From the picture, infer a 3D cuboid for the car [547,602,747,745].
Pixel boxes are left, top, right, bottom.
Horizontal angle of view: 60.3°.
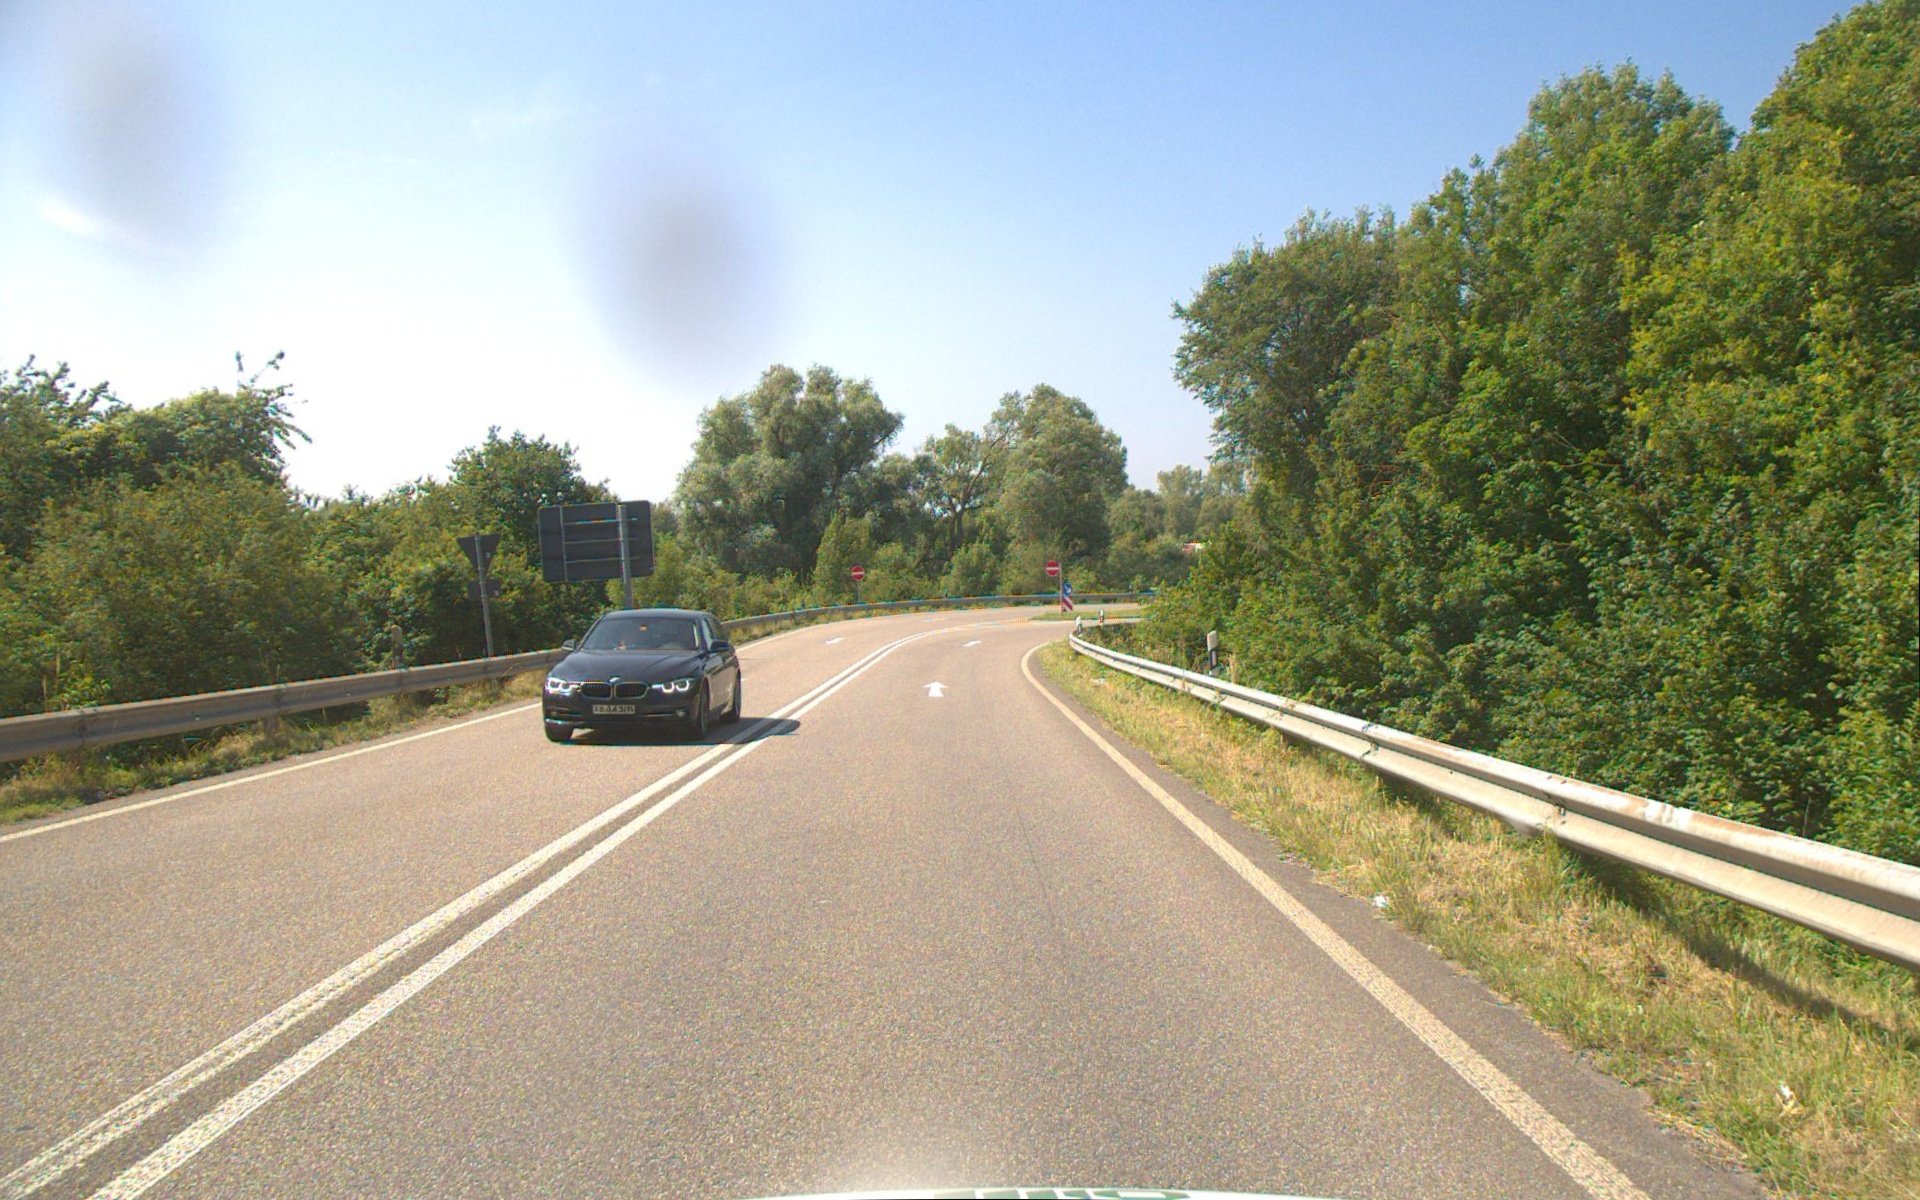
[{"bbox_3d":[-3.609,0.789,19.741,1.574,1.499,4.219,-1,0,0],"label":"car"}]
